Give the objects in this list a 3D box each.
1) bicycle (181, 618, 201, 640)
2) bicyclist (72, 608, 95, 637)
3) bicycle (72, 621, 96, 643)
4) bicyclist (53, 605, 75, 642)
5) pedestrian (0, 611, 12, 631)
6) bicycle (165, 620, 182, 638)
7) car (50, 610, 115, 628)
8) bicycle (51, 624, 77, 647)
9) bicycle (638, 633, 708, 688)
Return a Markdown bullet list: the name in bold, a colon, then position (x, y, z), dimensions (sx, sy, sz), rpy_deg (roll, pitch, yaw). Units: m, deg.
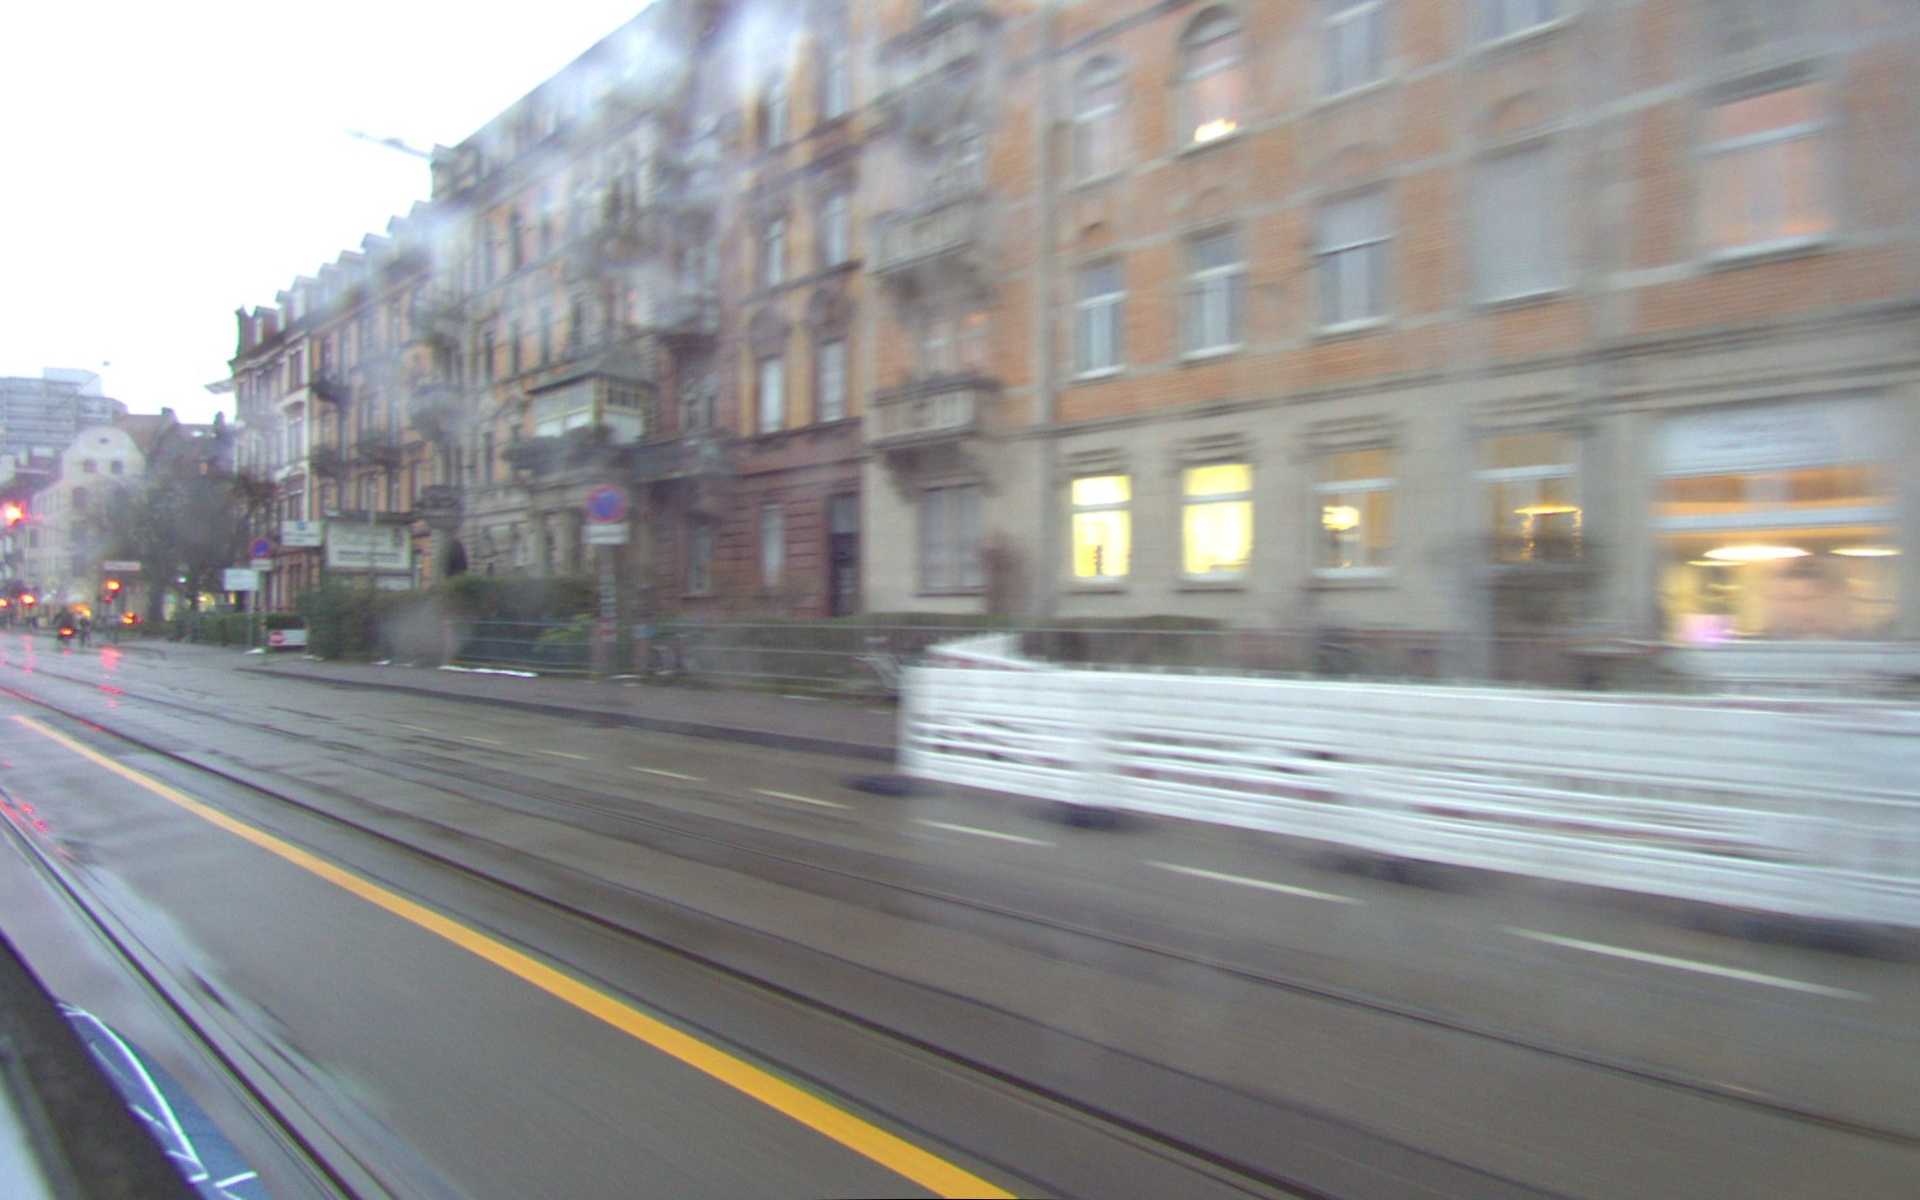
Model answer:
- **bicycle**: position (-35.758, 1.333, 47.076), dimensions (1.849, 1.014, 0.411), rpy_deg (-1, -1, 42)
- **bicyclist**: position (-42.062, 1.076, 48.562), dimensions (0.944, 1.374, 0.697), rpy_deg (0, 1, 43)
- **bicycle**: position (-42.032, 1.528, 48.547), dimensions (1.802, 1.014, 0.674), rpy_deg (-1, -1, 42)
- **bicyclist**: position (-40.517, 1.057, 45.755), dimensions (0.765, 1.628, 0.676), rpy_deg (-1, -1, 42)
- **pedestrian**: position (-94.201, 2.039, 99.687), dimensions (0.785, 1.892, 0.897), rpy_deg (-2, 1, -13)
- **bicycle**: position (-39.216, 1.424, 50.457), dimensions (1.849, 0.869, 0.395), rpy_deg (0, -1, 42)
- **car**: position (-79.117, 1.678, 91.326), dimensions (4.274, 1.595, 1.941), rpy_deg (1, -1, -39)
- **bicycle**: position (-40.415, 1.584, 45.652), dimensions (1.933, 0.979, 0.671), rpy_deg (0, -1, 42)
- **bicycle**: position (-5.186, 1.068, 18.237), dimensions (1.684, 0.922, 0.260), rpy_deg (-1, 4, 41)
